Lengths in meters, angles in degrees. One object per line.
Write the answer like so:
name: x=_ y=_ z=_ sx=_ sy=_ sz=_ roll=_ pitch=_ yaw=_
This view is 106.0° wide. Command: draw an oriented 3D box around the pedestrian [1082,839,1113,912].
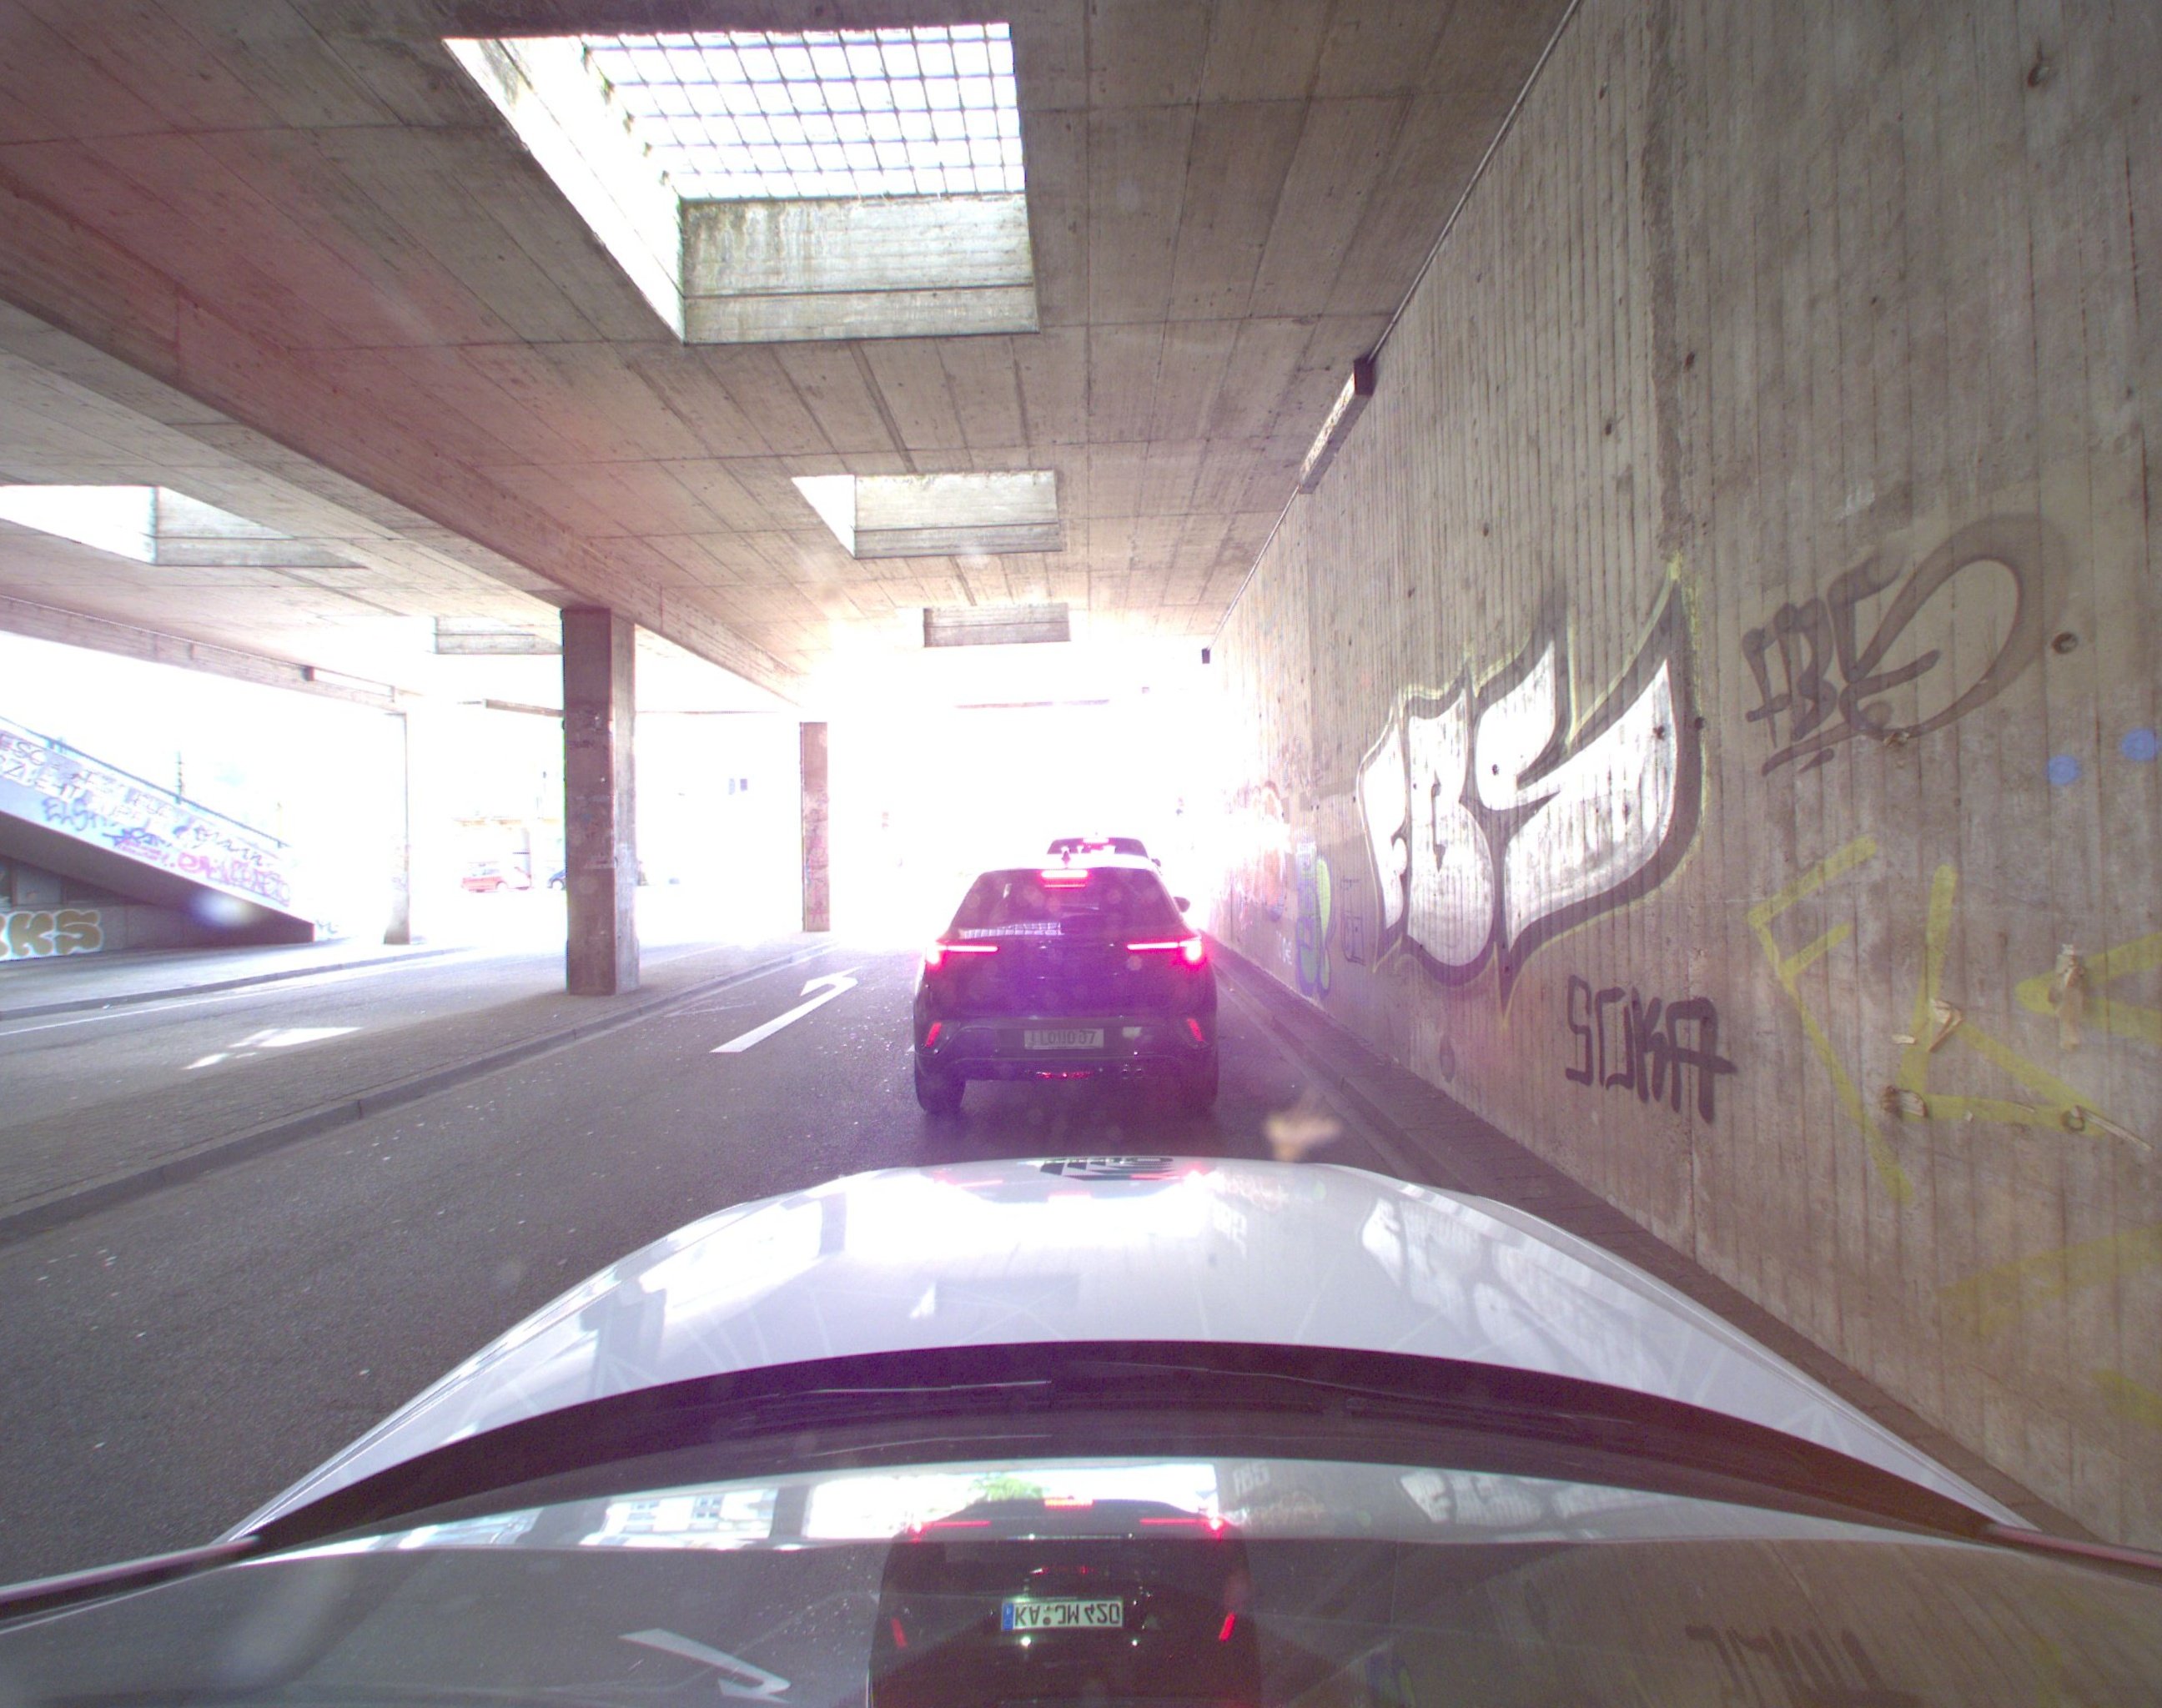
pedestrian: x=0.409 y=0.521 z=19.980 sx=0.728 sy=1.734 sz=0.874 roll=0 pitch=-1 yaw=1

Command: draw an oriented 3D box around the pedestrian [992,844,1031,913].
pedestrian: x=-1.825 y=0.639 z=21.500 sx=0.925 sy=1.762 sz=0.795 roll=0 pitch=-1 yaw=3

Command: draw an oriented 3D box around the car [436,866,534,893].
car: x=-33.070 y=1.392 z=45.257 sx=3.975 sy=1.409 sz=1.925 roll=0 pitch=-1 yaw=-1

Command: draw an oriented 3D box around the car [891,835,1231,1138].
car: x=-0.040 y=0.656 z=6.227 sx=1.758 sy=1.571 sz=4.002 roll=0 pitch=1 yaw=2

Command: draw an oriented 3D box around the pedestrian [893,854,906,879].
pedestrian: x=-11.730 y=0.798 z=52.705 sx=0.669 sy=1.637 sz=0.741 roll=0 pitch=-1 yaw=1

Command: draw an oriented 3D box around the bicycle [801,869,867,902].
bicycle: x=-8.377 y=1.069 z=27.598 sx=1.978 sy=1.050 sz=0.720 roll=-2 pitch=-1 yaw=8

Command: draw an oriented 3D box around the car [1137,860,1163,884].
car: x=5.854 y=1.469 z=68.516 sx=1.983 sy=1.970 sz=4.172 roll=0 pitch=-1 yaw=7

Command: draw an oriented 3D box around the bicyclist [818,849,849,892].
bicyclist: x=-8.382 y=0.556 z=27.622 sx=0.733 sy=1.423 sz=0.686 roll=-3 pitch=-1 yaw=8

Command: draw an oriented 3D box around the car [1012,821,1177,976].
car: x=0.231 y=0.546 z=12.073 sx=1.986 sy=1.871 sz=4.002 roll=-2 pitch=0 yaw=2

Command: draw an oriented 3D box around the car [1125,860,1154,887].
car: x=4.505 y=1.448 z=62.326 sx=1.983 sy=1.970 sz=4.172 roll=0 pitch=-1 yaw=7

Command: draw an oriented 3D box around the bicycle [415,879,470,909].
bicycle: x=-24.053 y=1.499 z=30.672 sx=1.732 sy=1.118 sz=0.477 roll=0 pitch=-1 yaw=4

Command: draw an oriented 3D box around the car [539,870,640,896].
car: x=-27.268 y=1.593 z=45.278 sx=4.393 sy=1.409 sz=1.925 roll=0 pitch=-1 yaw=-1
